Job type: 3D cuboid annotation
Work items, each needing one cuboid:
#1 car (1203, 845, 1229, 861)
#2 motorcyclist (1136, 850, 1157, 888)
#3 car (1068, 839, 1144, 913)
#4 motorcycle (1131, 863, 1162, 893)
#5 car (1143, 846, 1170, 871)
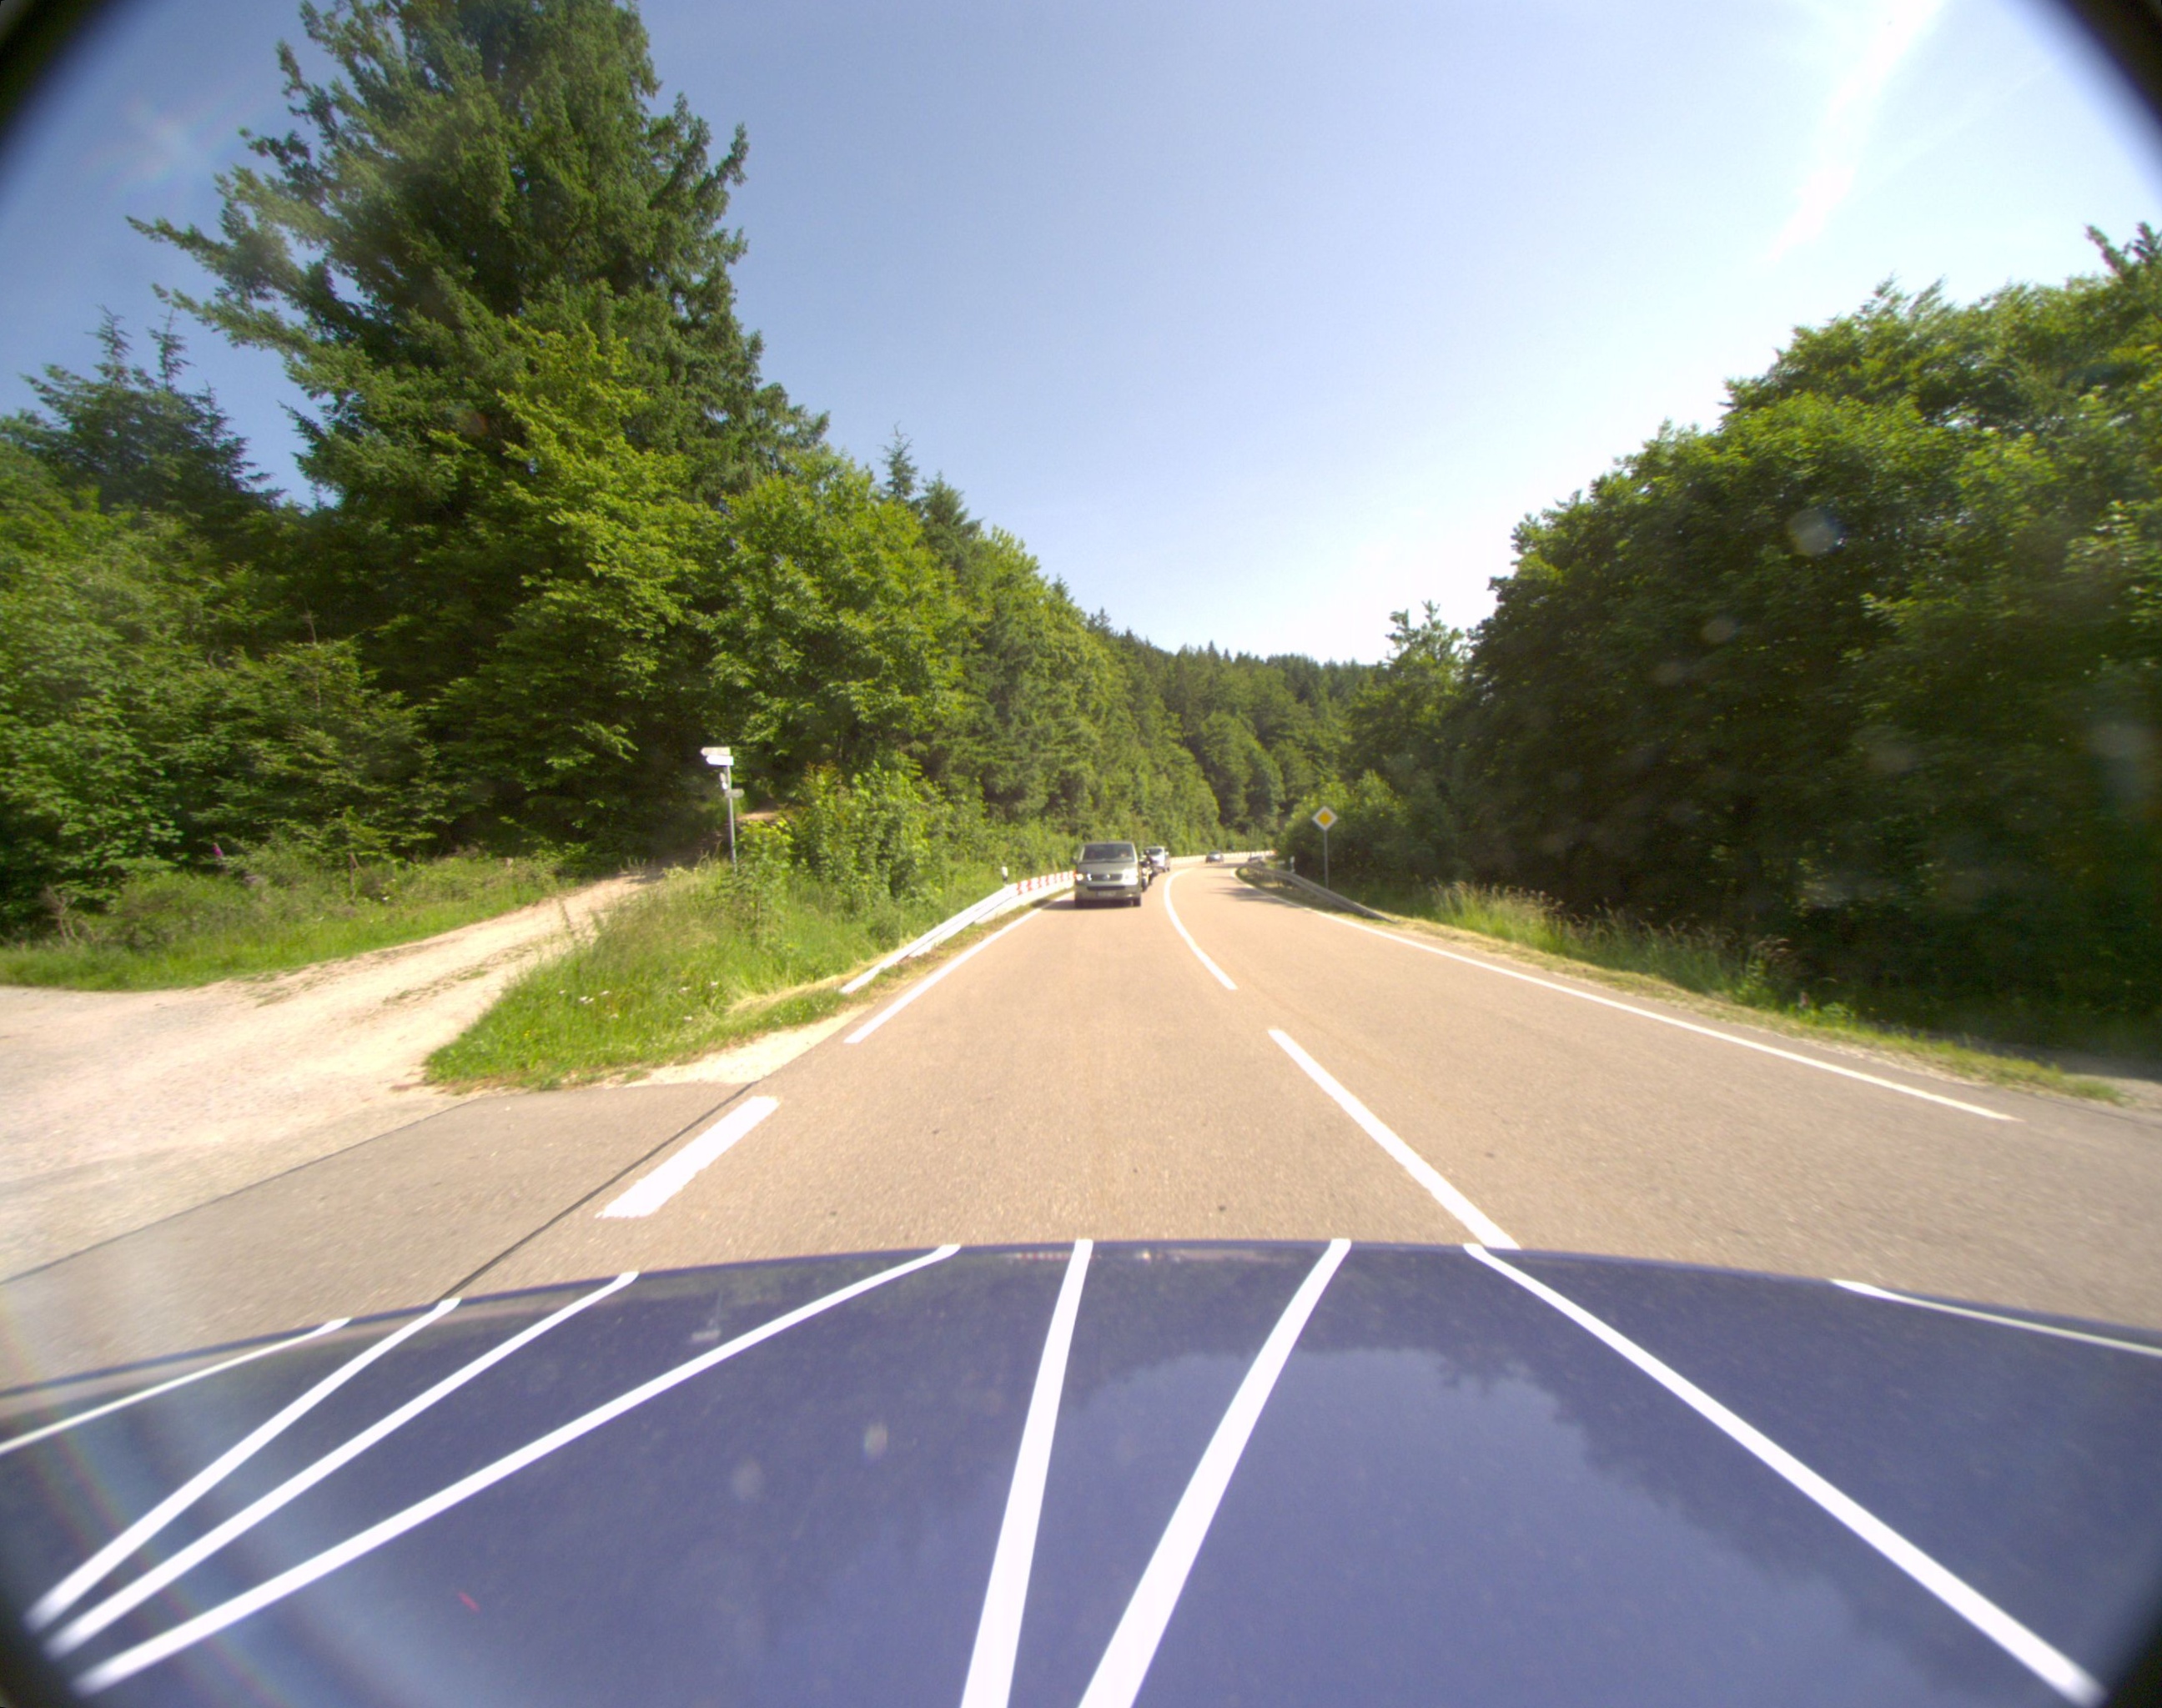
[{"bbox_3d":[15.566,-0.109,87.335,1.995,1.633,4.006,-3,0,24],"label":"car"},{"bbox_3d":[2.568,0.586,29.872,0.716,1.421,0.999,-4,0,4],"label":"motorcyclist"},{"bbox_3d":[0.860,0.591,23.212,2.028,1.940,4.900,-2,0,4],"label":"car"},{"bbox_3d":[2.549,0.921,29.821,1.109,1.117,1.961,-1,0,3],"label":"motorcycle"},{"bbox_3d":[5.604,0.309,55.816,1.651,1.749,3.797,-1,1,10],"label":"car"}]
